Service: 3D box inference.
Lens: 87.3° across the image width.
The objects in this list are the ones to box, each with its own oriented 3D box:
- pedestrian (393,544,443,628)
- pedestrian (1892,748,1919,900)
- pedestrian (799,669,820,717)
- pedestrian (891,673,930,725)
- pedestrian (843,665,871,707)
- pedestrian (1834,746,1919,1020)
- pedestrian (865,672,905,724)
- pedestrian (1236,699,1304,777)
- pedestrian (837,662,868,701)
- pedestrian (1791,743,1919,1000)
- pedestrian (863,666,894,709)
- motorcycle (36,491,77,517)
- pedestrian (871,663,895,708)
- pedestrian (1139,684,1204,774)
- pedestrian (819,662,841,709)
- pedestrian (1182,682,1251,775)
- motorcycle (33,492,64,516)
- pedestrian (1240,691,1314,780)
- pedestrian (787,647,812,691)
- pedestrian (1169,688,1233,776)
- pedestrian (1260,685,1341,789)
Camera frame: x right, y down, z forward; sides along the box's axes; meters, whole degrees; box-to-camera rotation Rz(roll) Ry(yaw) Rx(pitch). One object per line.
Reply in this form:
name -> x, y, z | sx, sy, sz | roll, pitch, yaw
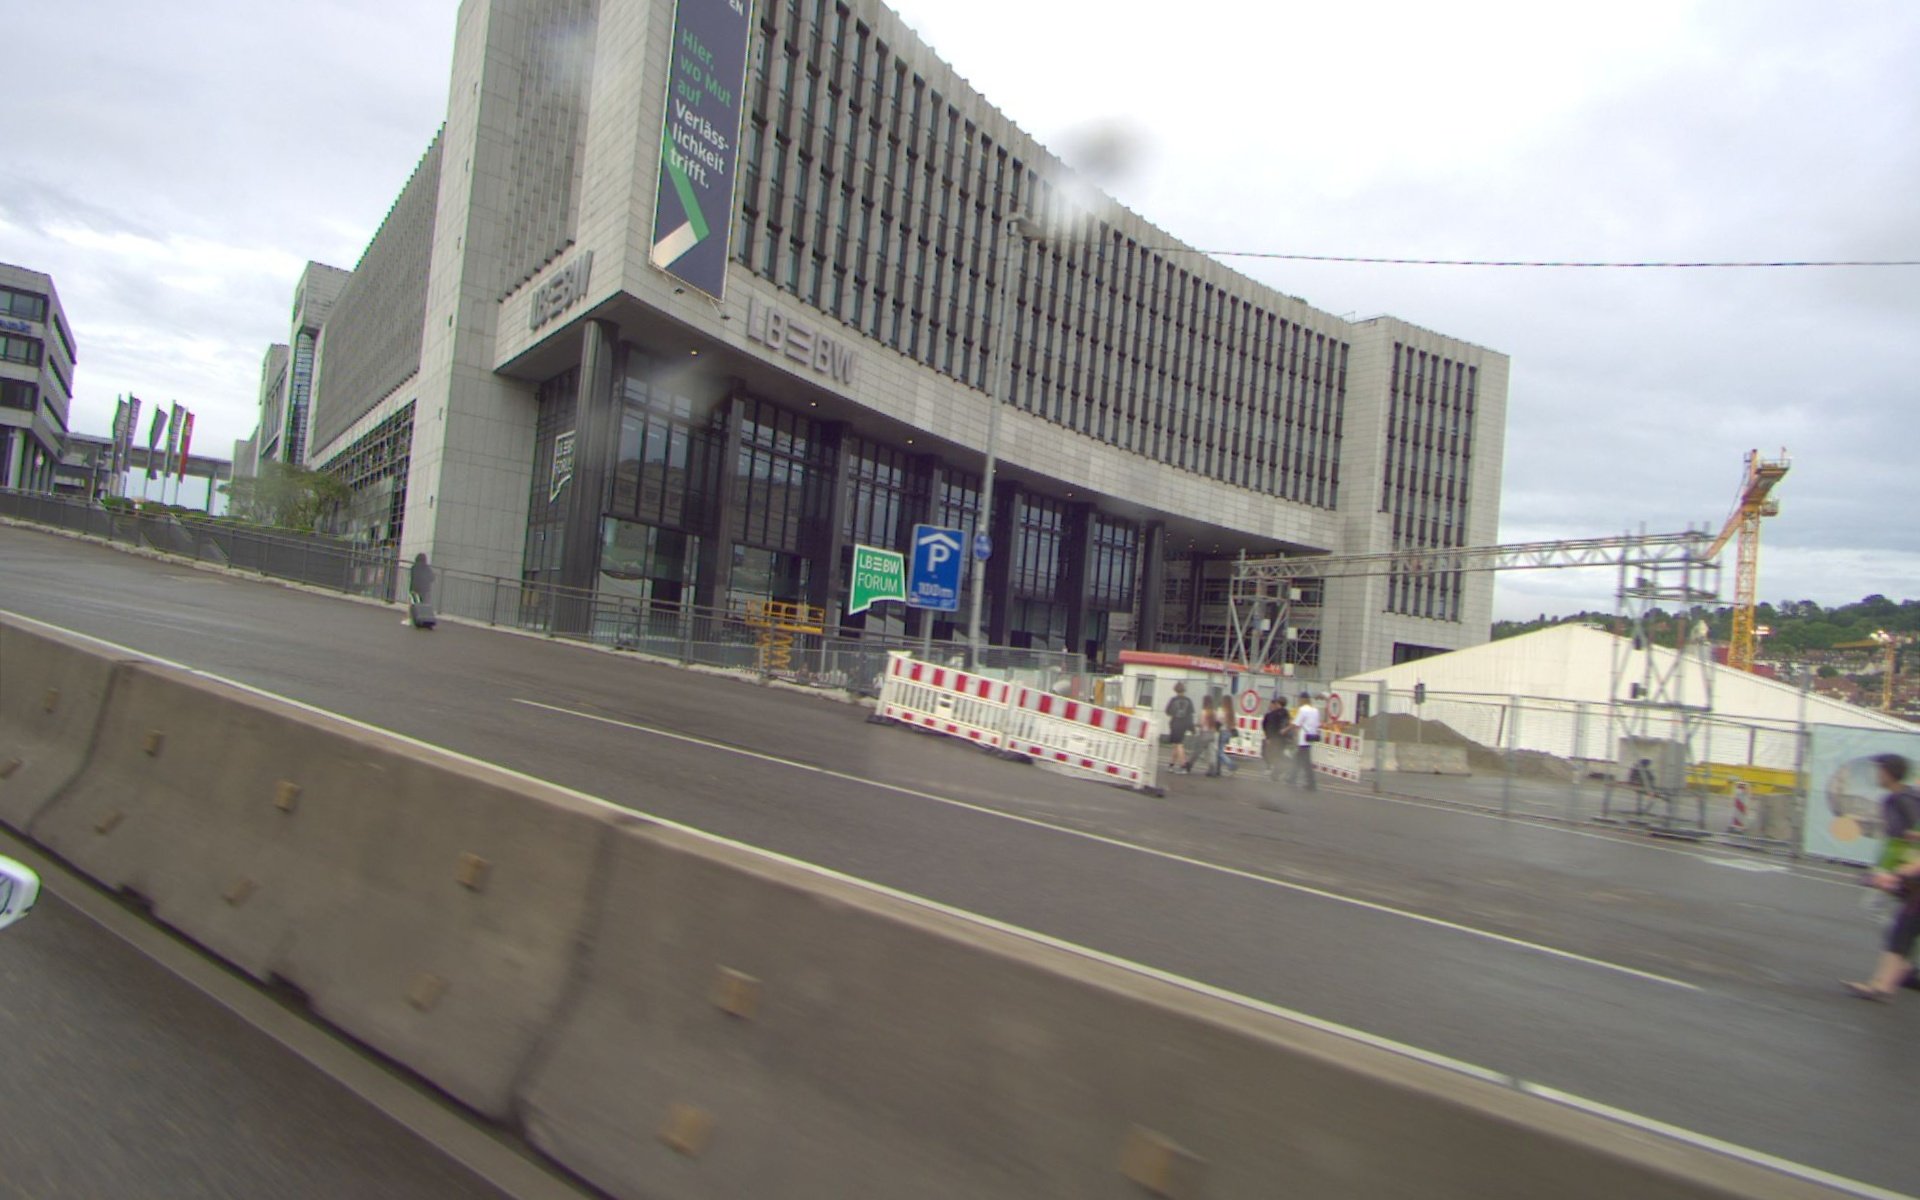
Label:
pedestrian -> -11.574, -0.295, 21.483 | 0.724, 1.671, 1.052 | 7, -1, -31
pedestrian -> 11.764, 2.682, 11.738 | 0.859, 1.745, 1.001 | 7, -2, -30
pedestrian -> -5.498, 3.384, 36.683 | 0.594, 1.656, 0.770 | 6, -1, -10
pedestrian -> -1.724, 3.450, 35.116 | 0.859, 1.656, 1.001 | 7, -2, -30
pedestrian -> -4.336, 3.603, 42.236 | 0.855, 1.656, 1.006 | 6, -2, -15
pedestrian -> 6.165, 1.785, 6.271 | 0.727, 1.592, 0.799 | 8, -3, -31
pedestrian -> -2.577, 3.354, 34.556 | 0.859, 1.656, 1.001 | 7, -2, -30
pedestrian -> 6.933, 3.075, 22.522 | 0.859, 1.571, 1.001 | 7, -2, -30
pedestrian -> -4.896, 3.710, 45.784 | 0.854, 1.656, 1.007 | 5, -2, 28
pedestrian -> 6.694, 1.900, 7.115 | 0.854, 1.612, 0.945 | 7, -2, -31
pedestrian -> -3.479, 3.720, 42.798 | 0.858, 1.656, 1.003 | 6, -2, -25
motorcycle -> -56.734, -6.007, 63.162 | 0.595, 1.371, 1.729 | 7, 0, 24
pedestrian -> -3.012, 3.334, 39.198 | 0.727, 1.656, 0.654 | 6, -1, 0
pedestrian -> 4.237, 2.568, 20.154 | 0.718, 1.656, 0.910 | 6, -2, -30
pedestrian -> -4.766, 3.123, 36.828 | 0.578, 1.656, 0.751 | 6, -1, -10
pedestrian -> 5.383, 2.694, 21.134 | 0.765, 1.804, 1.001 | 6, -2, -30
motorcycle -> -57.424, -6.031, 63.394 | 0.609, 1.286, 1.244 | 7, 0, 24
pedestrian -> 6.484, 2.764, 20.589 | 0.859, 1.656, 1.001 | 7, -2, -30
pedestrian -> -6.374, 2.731, 39.855 | 0.697, 1.634, 0.562 | 6, -1, -26
pedestrian -> 4.891, 2.676, 20.468 | 0.692, 1.656, 0.910 | 6, -2, -30
pedestrian -> 6.455, 2.584, 19.096 | 0.859, 1.802, 1.001 | 7, -2, -30
